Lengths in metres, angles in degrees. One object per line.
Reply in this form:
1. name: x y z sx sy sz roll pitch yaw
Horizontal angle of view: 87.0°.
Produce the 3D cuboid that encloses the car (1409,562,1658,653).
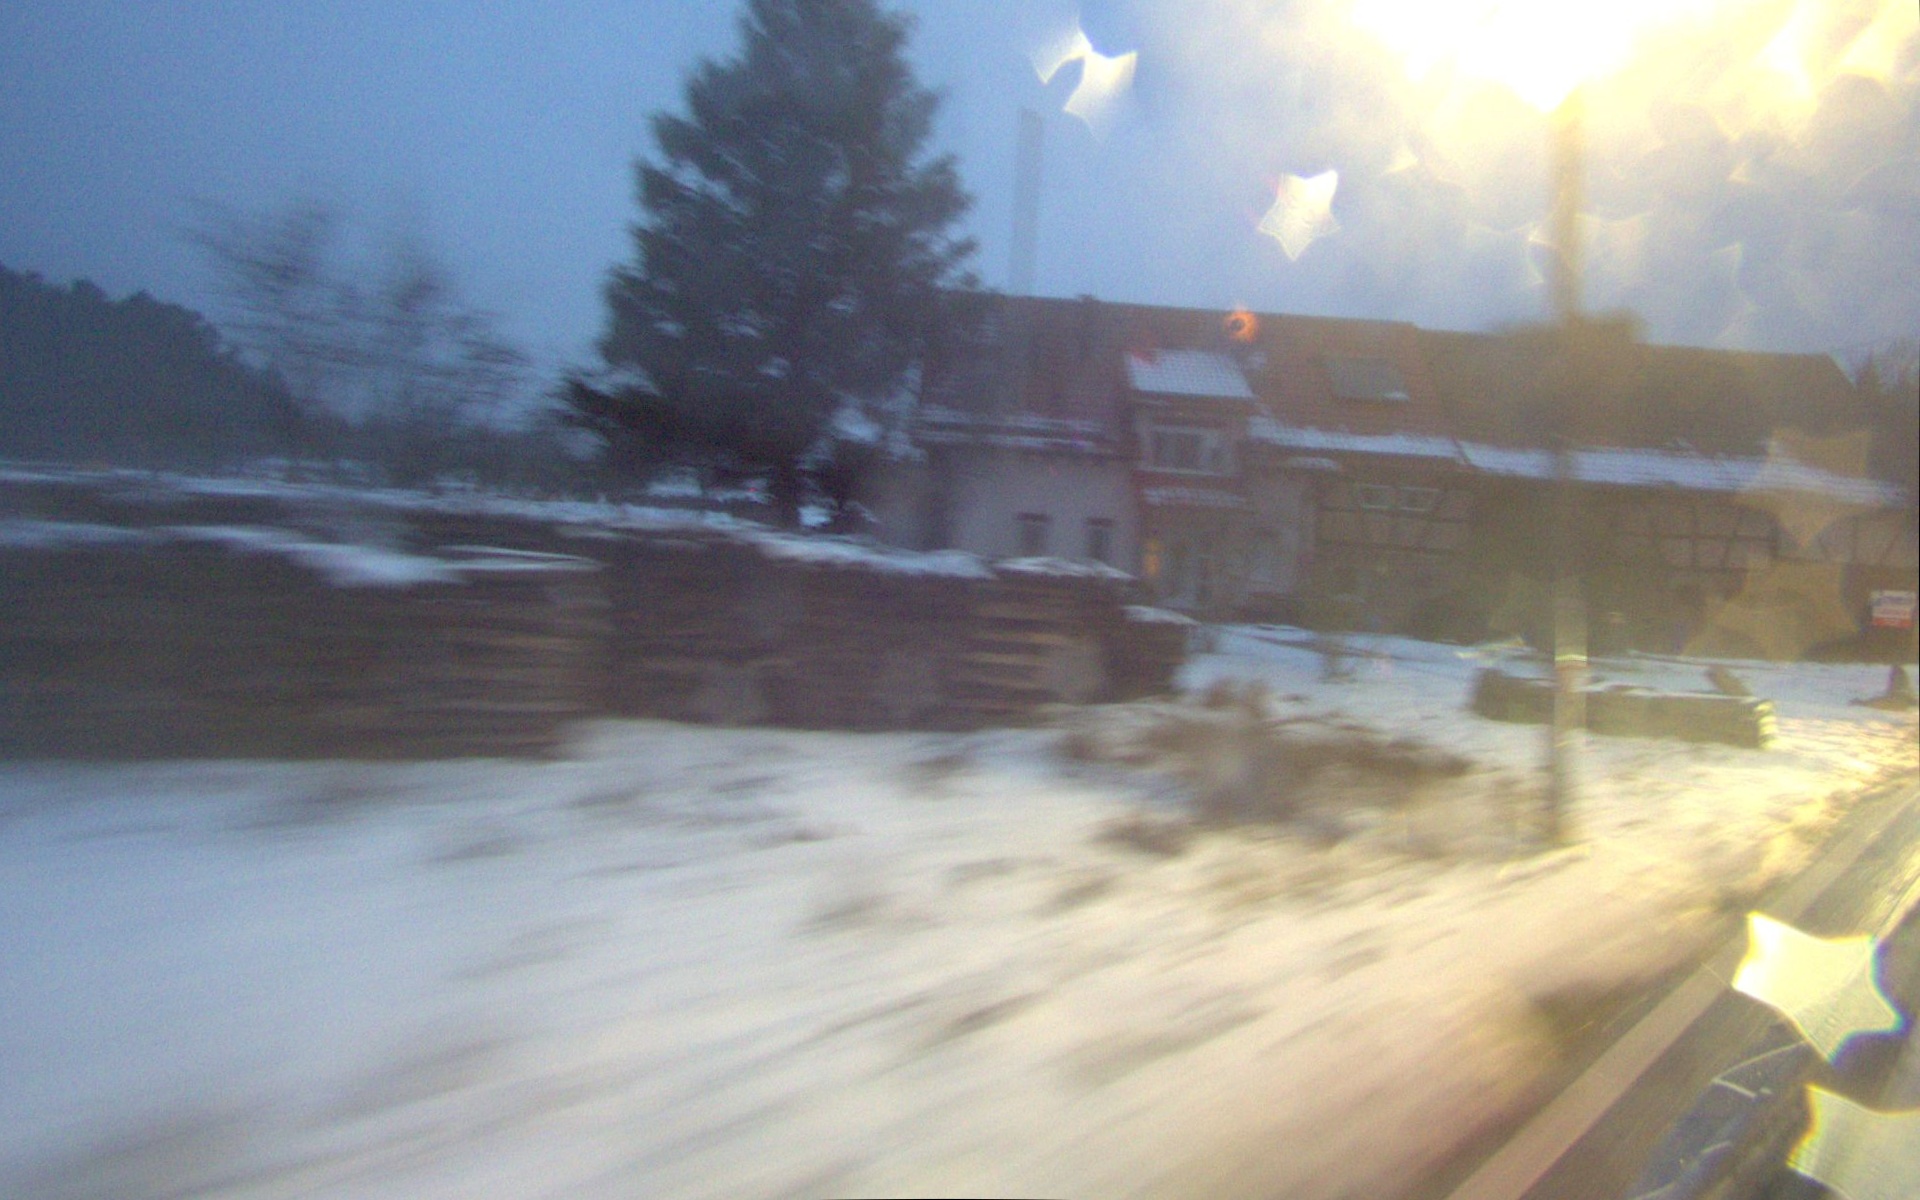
1. car: 12.585 0.100 22.497 1.825 1.677 4.415 2 3 -32
